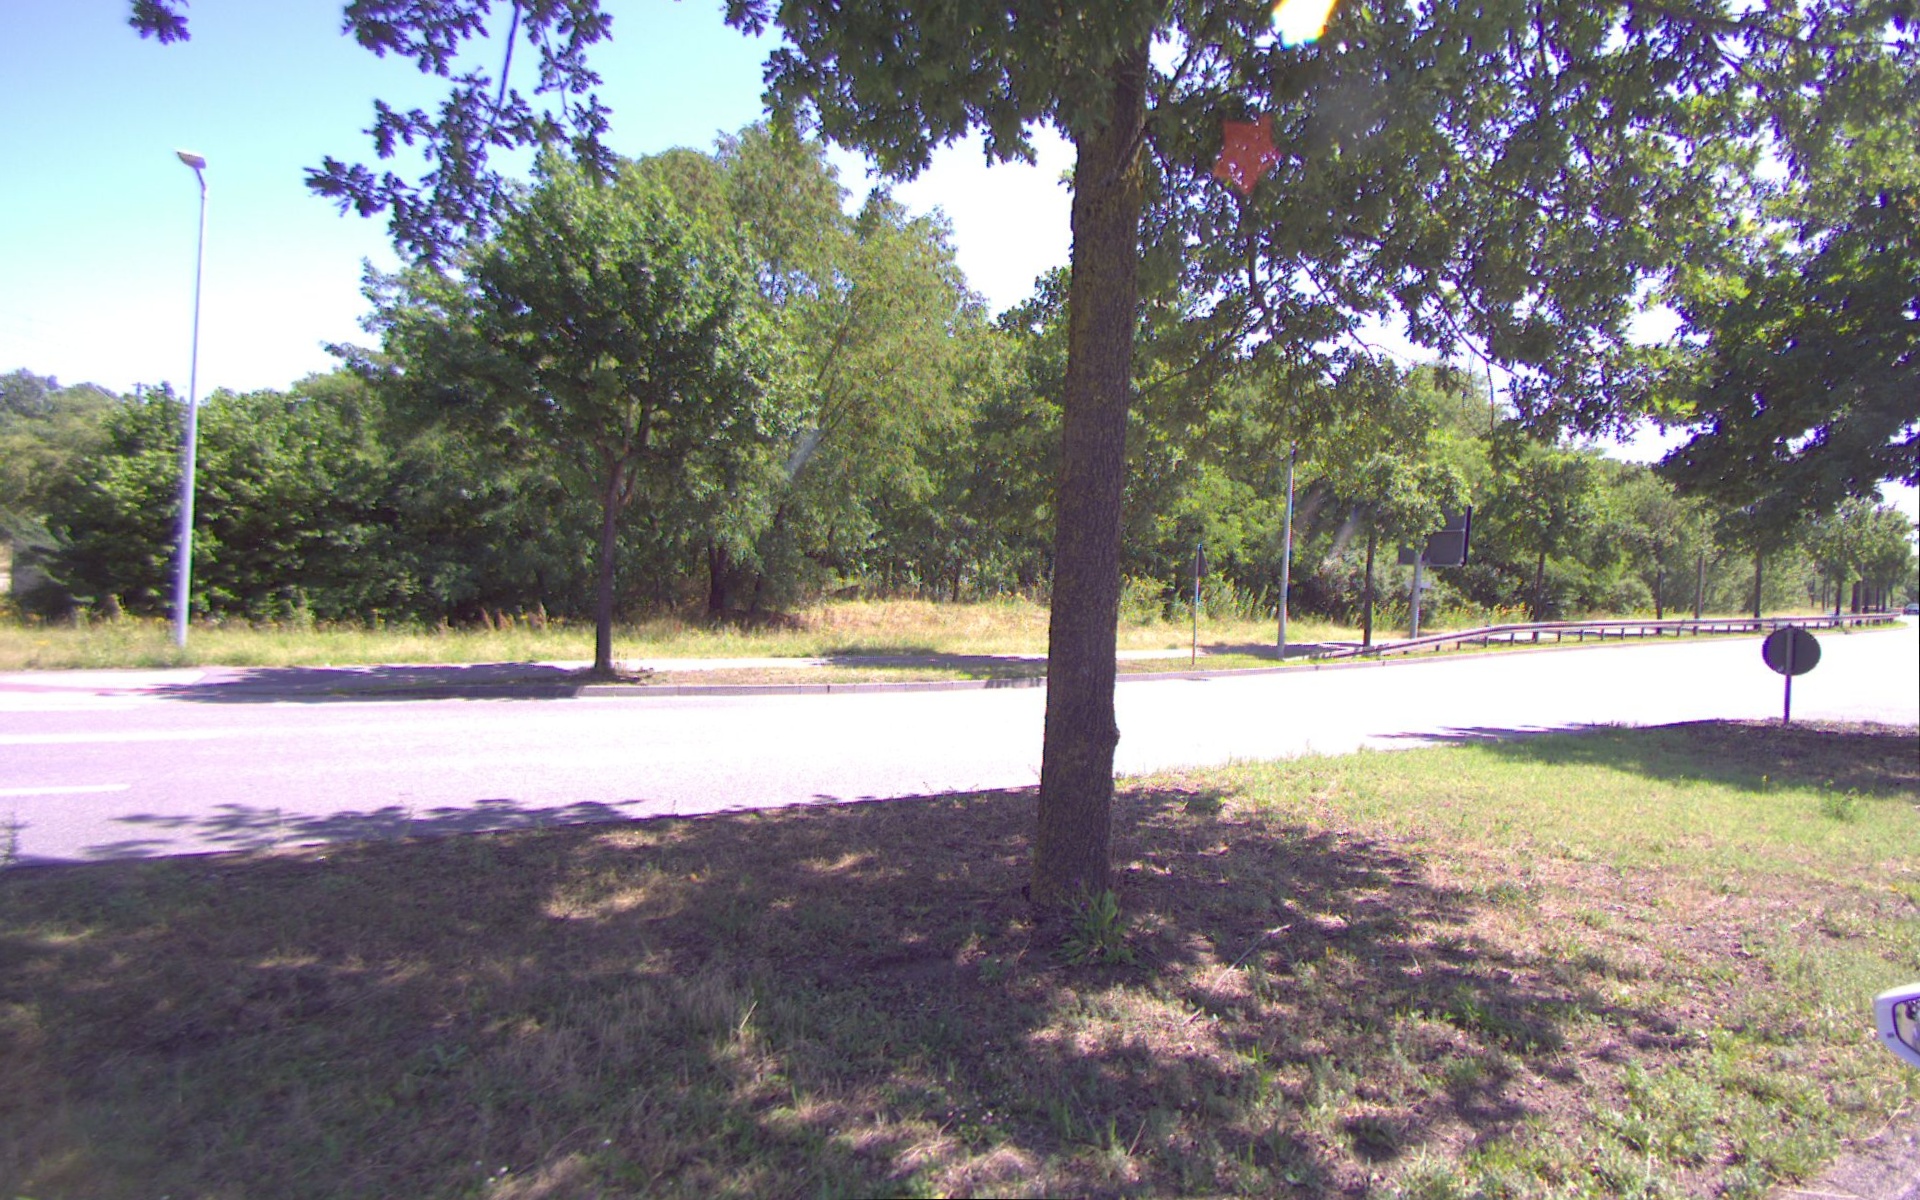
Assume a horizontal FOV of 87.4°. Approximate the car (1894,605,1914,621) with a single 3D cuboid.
[{"bbox_3d":[111.394,1.546,118.530,1.661,1.694,3.730,2,2,44],"label":"car"}]
